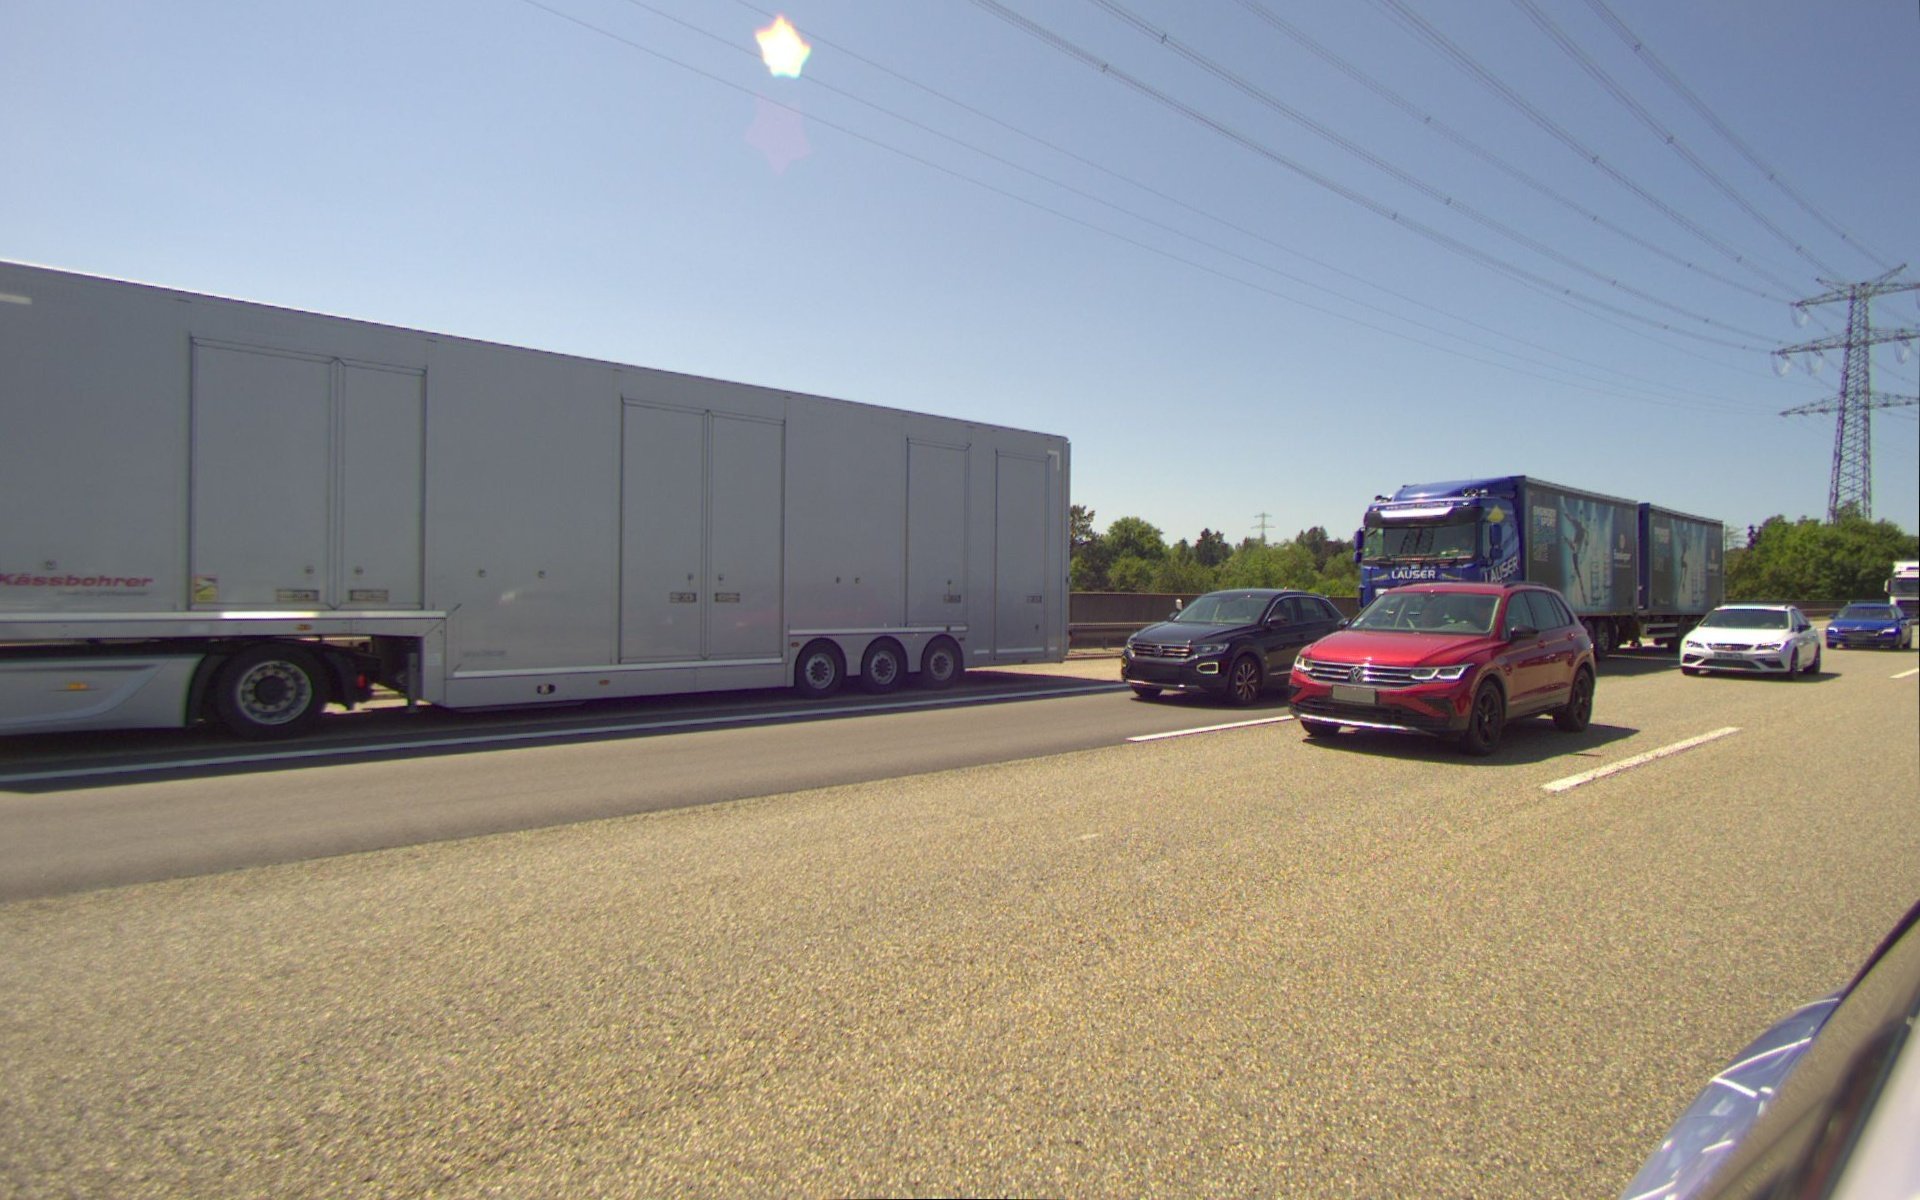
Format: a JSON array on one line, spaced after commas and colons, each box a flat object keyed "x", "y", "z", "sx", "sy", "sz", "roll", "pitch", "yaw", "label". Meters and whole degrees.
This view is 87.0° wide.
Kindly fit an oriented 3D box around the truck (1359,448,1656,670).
[{"x": 12.889, "y": -0.778, "z": 23.170, "sx": 10.264, "sy": 4.118, "sz": 2.527, "roll": 0, "pitch": 0, "yaw": -41, "label": "truck"}]

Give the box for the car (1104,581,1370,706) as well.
[{"x": 4.041, "y": 0.524, "z": 14.452, "sx": 4.034, "sy": 1.546, "sz": 1.739, "roll": 0, "pitch": 0, "yaw": -41, "label": "car"}]

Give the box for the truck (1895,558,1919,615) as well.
[{"x": 64.254, "y": -0.868, "z": 66.493, "sx": 10.776, "sy": 3.604, "sz": 2.983, "roll": 0, "pitch": 0, "yaw": -41, "label": "truck"}]

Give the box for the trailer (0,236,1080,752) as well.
[{"x": -3.867, "y": -0.870, "z": 13.349, "sx": 13.534, "sy": 4.172, "sz": 2.539, "roll": 0, "pitch": 0, "yaw": -42, "label": "trailer"}]

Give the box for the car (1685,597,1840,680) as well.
[{"x": 16.231, "y": 0.690, "z": 20.401, "sx": 4.003, "sy": 1.508, "sz": 1.841, "roll": 0, "pitch": 0, "yaw": -42, "label": "car"}]

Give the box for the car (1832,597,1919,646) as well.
[{"x": 29.569, "y": 0.650, "z": 32.479, "sx": 4.135, "sy": 1.463, "sz": 1.739, "roll": 0, "pitch": 1, "yaw": -40, "label": "car"}]

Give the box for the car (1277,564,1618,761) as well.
[{"x": 5.278, "y": 0.519, "z": 10.715, "sx": 4.151, "sy": 1.683, "sz": 1.778, "roll": 0, "pitch": 1, "yaw": -41, "label": "car"}]

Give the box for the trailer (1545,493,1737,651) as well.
[{"x": 19.922, "y": -0.701, "z": 29.338, "sx": 8.331, "sy": 3.995, "sz": 2.570, "roll": 0, "pitch": 0, "yaw": -41, "label": "trailer"}]

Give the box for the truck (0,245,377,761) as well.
[{"x": -8.681, "y": -0.806, "z": 9.056, "sx": 5.617, "sy": 4.171, "sz": 2.520, "roll": 0, "pitch": 1, "yaw": -42, "label": "truck"}]
